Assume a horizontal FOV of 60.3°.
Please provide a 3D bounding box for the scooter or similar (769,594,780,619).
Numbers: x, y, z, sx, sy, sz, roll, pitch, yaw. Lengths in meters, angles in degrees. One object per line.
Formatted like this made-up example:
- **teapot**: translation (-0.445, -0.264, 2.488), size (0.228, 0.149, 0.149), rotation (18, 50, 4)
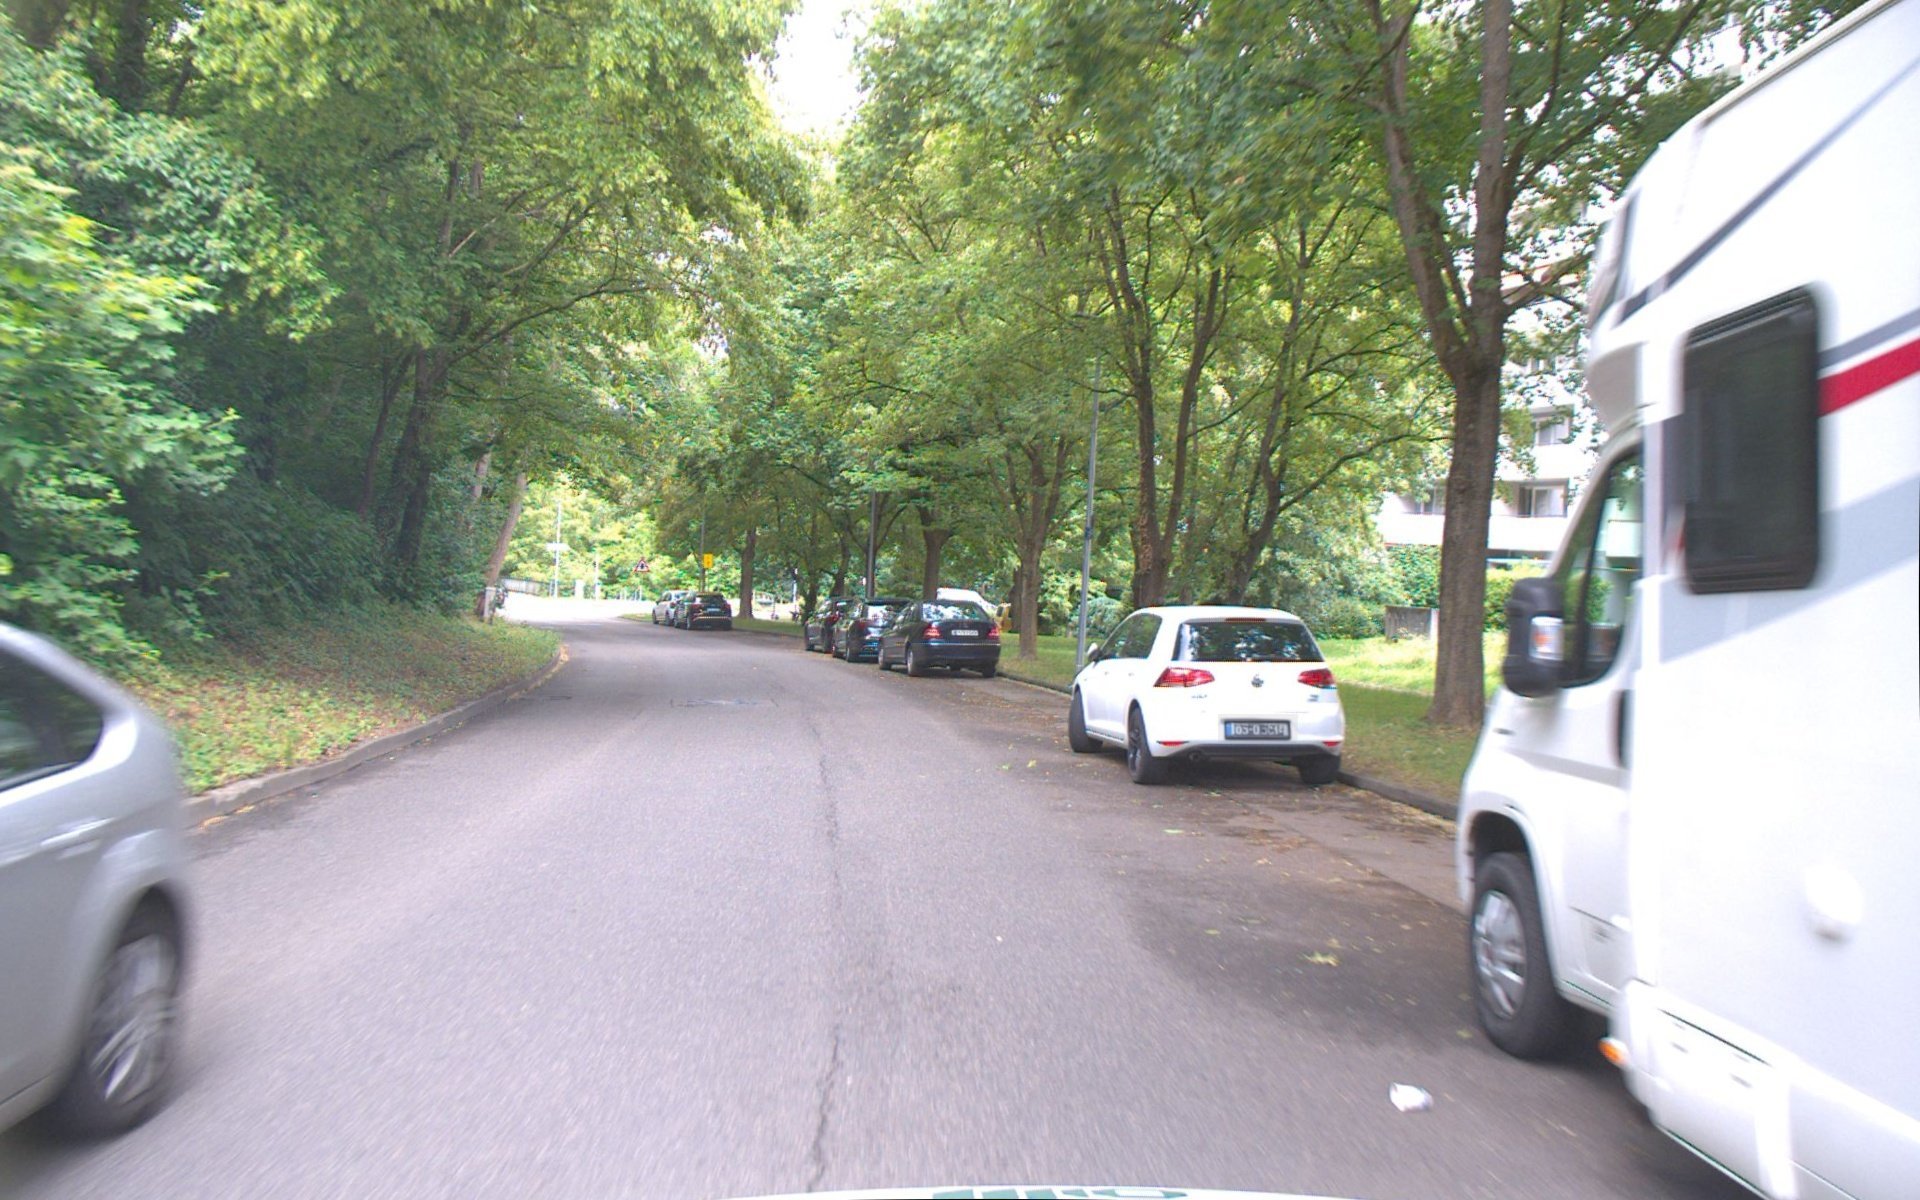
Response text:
- **scooter or similar**: translation (-10.127, 0.346, 90.295), size (0.278, 1.309, 1.102), rotation (2, 0, -20)

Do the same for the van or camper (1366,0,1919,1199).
- **van or camper**: translation (2.951, -0.017, 3.033), size (2.375, 3.032, 7.391), rotation (2, 0, -1)

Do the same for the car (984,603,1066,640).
- **car**: translation (3.709, 1.231, 95.063), size (4.321, 1.881, 1.826), rotation (2, 0, -14)

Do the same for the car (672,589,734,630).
- **car**: translation (-10.586, 0.362, 67.935), size (1.748, 1.549, 4.159), rotation (2, 0, -20)

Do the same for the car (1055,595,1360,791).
- **car**: translation (2.094, 0.740, 15.182), size (1.657, 1.508, 4.099), rotation (2, 0, -8)

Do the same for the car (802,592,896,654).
- **car**: translation (-2.951, 0.575, 43.320), size (1.654, 1.490, 3.881), rotation (2, 0, -16)

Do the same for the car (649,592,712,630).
- **car**: translation (-12.201, 0.478, 72.018), size (1.751, 1.549, 3.751), rotation (2, 0, -25)

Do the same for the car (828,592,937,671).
- **car**: translation (-1.861, 0.680, 38.162), size (1.879, 1.640, 4.723), rotation (2, 0, -10)

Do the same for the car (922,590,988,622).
- **car**: translation (-0.354, 0.410, 112.883), size (4.139, 2.049, 1.991), rotation (2, 0, -17)

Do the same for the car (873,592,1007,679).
- **car**: translation (-0.462, 0.632, 31.997), size (1.563, 1.491, 4.300), rotation (2, 0, -15)

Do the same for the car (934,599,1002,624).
- **car**: translation (0.517, 0.766, 110.019), size (4.139, 1.525, 1.791), rotation (2, 0, -18)

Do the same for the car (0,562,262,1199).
- **car**: translation (-2.963, 0.685, 3.077), size (1.758, 1.534, 3.998), rotation (0, 0, -2)

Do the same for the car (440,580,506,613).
- **car**: translation (-27.463, -0.211, 93.127), size (1.786, 1.715, 4.166), rotation (2, 0, -45)
